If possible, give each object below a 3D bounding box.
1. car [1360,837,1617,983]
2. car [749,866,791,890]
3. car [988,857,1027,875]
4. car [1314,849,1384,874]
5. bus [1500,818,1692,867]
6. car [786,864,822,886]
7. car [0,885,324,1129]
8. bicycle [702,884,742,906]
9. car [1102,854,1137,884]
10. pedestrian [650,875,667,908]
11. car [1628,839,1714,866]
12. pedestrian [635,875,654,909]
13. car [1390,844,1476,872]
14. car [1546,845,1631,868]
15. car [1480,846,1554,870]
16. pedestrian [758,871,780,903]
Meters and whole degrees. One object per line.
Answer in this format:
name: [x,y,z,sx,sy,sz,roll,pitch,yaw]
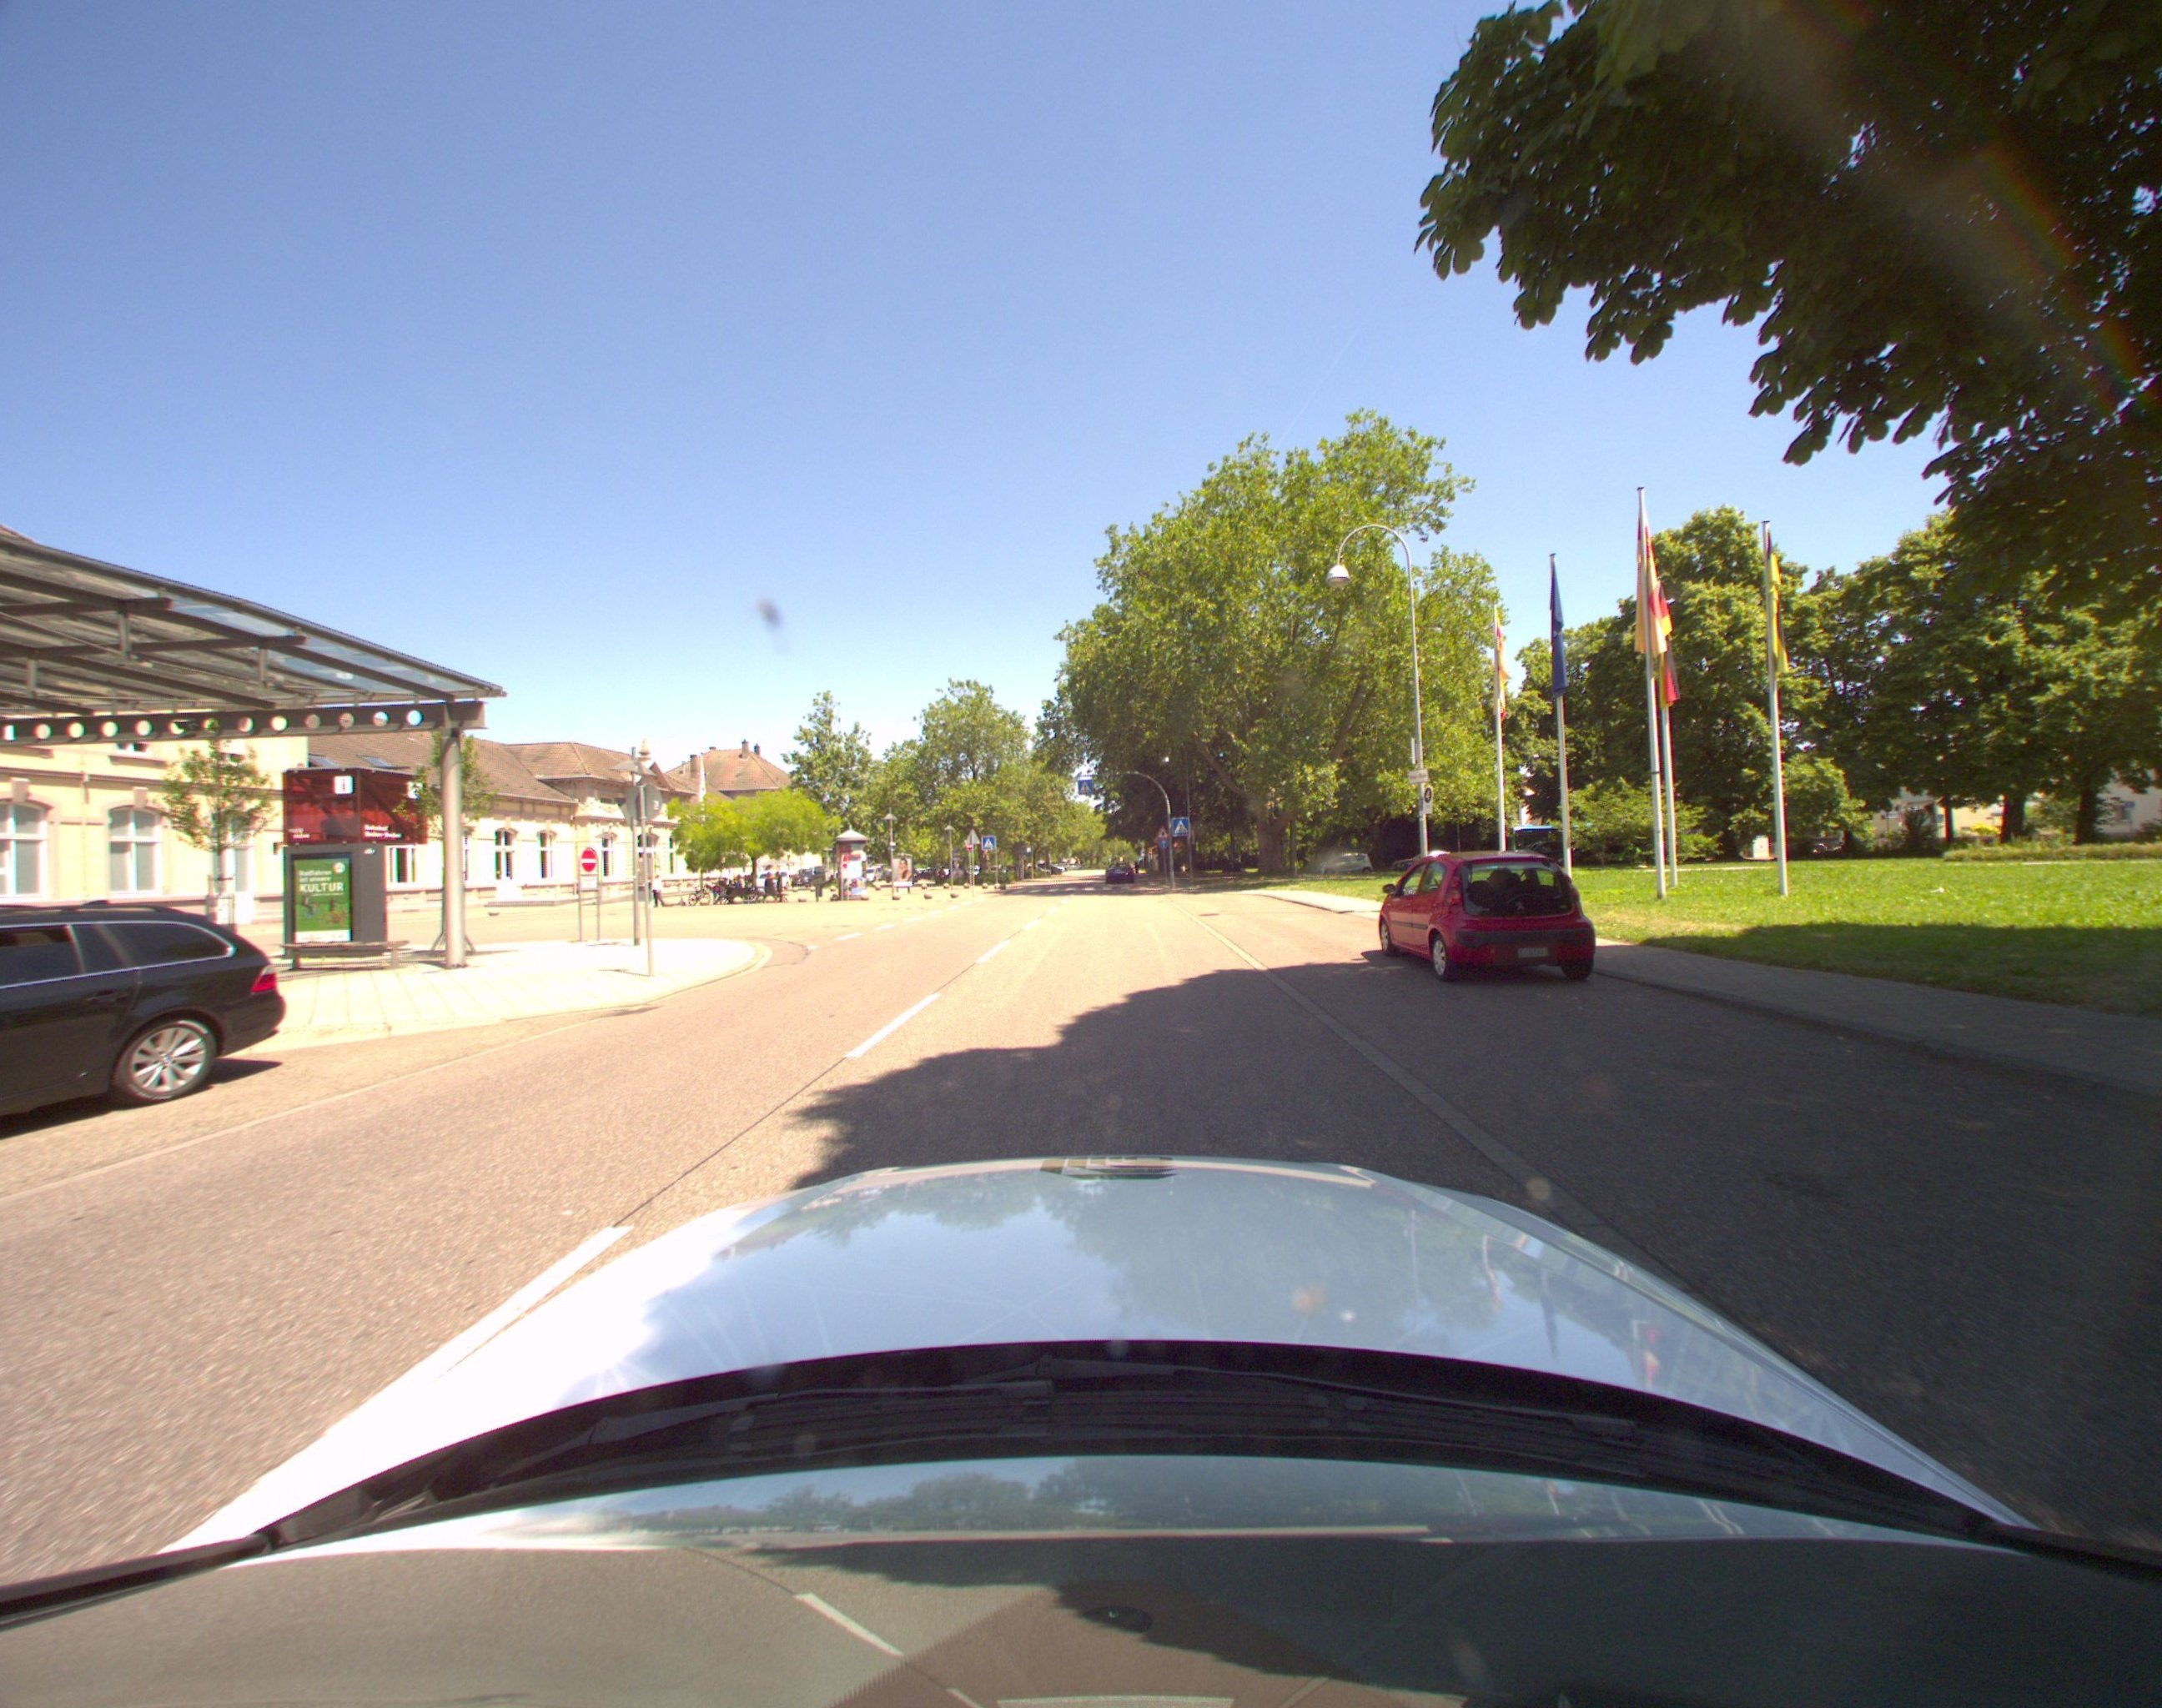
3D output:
car: [4.953,0.620,10.503,1.710,1.478,3.712,-3,-1,6]
car: [-27.605,2.110,72.438,1.744,1.917,4.778,-2,0,2]
car: [-8.120,1.374,90.314,3.995,1.782,1.989,-2,-4,-16]
car: [17.973,0.489,54.797,4.085,1.466,2.003,-2,-1,5]
bus: [37.501,-0.805,59.570,12.330,2.978,2.269,-2,-2,2]
car: [-26.996,1.986,79.469,1.986,2.014,4.001,-2,-1,2]
car: [-7.677,1.021,4.872,1.712,1.478,4.786,-3,-1,1]
bicycle: [-18.071,2.052,41.032,1.799,1.031,0.485,-1,-1,-22]
car: [2.510,0.982,54.023,2.117,1.848,4.048,-1,-1,1]
pedestrian: [-21.783,1.938,41.995,0.589,1.710,0.580,0,-4,-44]
car: [38.613,-0.064,53.375,4.079,1.609,2.002,-1,-2,4]
pedestrian: [-22.226,1.937,41.465,0.661,1.673,0.623,0,-4,-44]
car: [23.156,0.249,53.751,4.799,1.607,2.003,-2,-1,6]
car: [33.448,0.179,53.750,4.319,1.416,2.001,-1,-2,2]
car: [28.873,0.306,54.034,3.864,1.454,2.002,-1,-2,3]
pedestrian: [-16.788,1.781,43.803,0.754,1.659,0.724,-3,-3,19]
